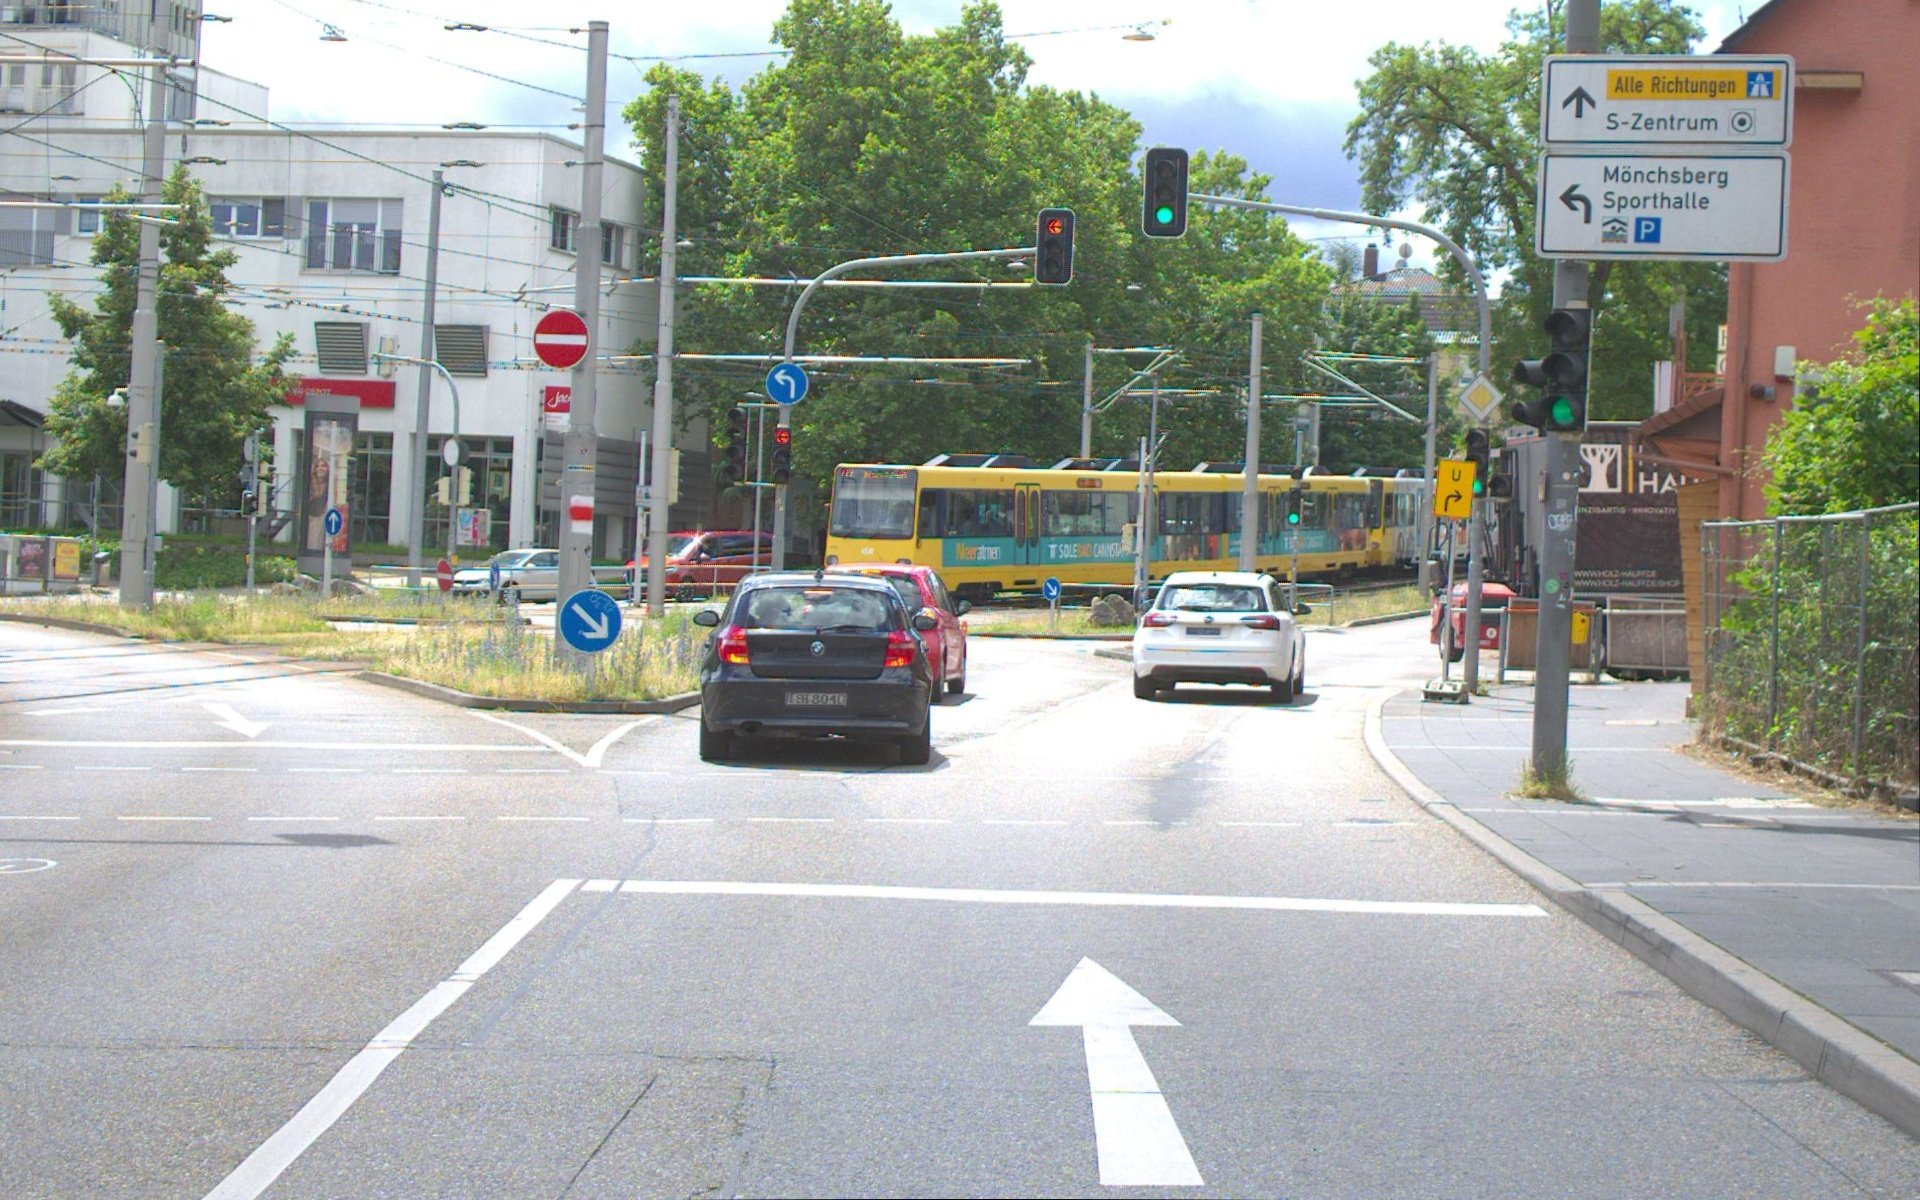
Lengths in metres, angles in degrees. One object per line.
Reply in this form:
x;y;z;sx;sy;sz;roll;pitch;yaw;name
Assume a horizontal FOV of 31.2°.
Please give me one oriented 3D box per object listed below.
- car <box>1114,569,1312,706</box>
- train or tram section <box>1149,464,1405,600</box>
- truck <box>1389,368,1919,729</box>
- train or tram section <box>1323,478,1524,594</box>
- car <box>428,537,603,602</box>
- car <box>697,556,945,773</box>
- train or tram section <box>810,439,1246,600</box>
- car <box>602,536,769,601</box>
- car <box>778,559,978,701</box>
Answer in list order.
3.028;0.423;40.434;1.889;1.460;4.067;2;0;10;car
10.081;-2.022;106.000;2.700;3.738;18.340;3;2;21;train or tram section
11.092;-0.620;49.377;8.997;4.520;3.214;4;-1;-7;truck
16.837;-2.229;123.040;2.700;3.738;18.340;3;2;21;train or tram section
-11.213;-0.765;86.827;1.999;1.459;3.990;3;1;42;car
-1.076;0.438;26.485;1.726;1.451;3.809;2;1;-3;car
2.231;-1.946;89.758;2.702;3.738;18.329;4;2;30;train or tram section
-7.322;-0.833;91.941;1.998;1.595;4.189;3;2;41;car
-0.851;0.292;37.762;1.712;1.388;3.808;2;1;5;car
